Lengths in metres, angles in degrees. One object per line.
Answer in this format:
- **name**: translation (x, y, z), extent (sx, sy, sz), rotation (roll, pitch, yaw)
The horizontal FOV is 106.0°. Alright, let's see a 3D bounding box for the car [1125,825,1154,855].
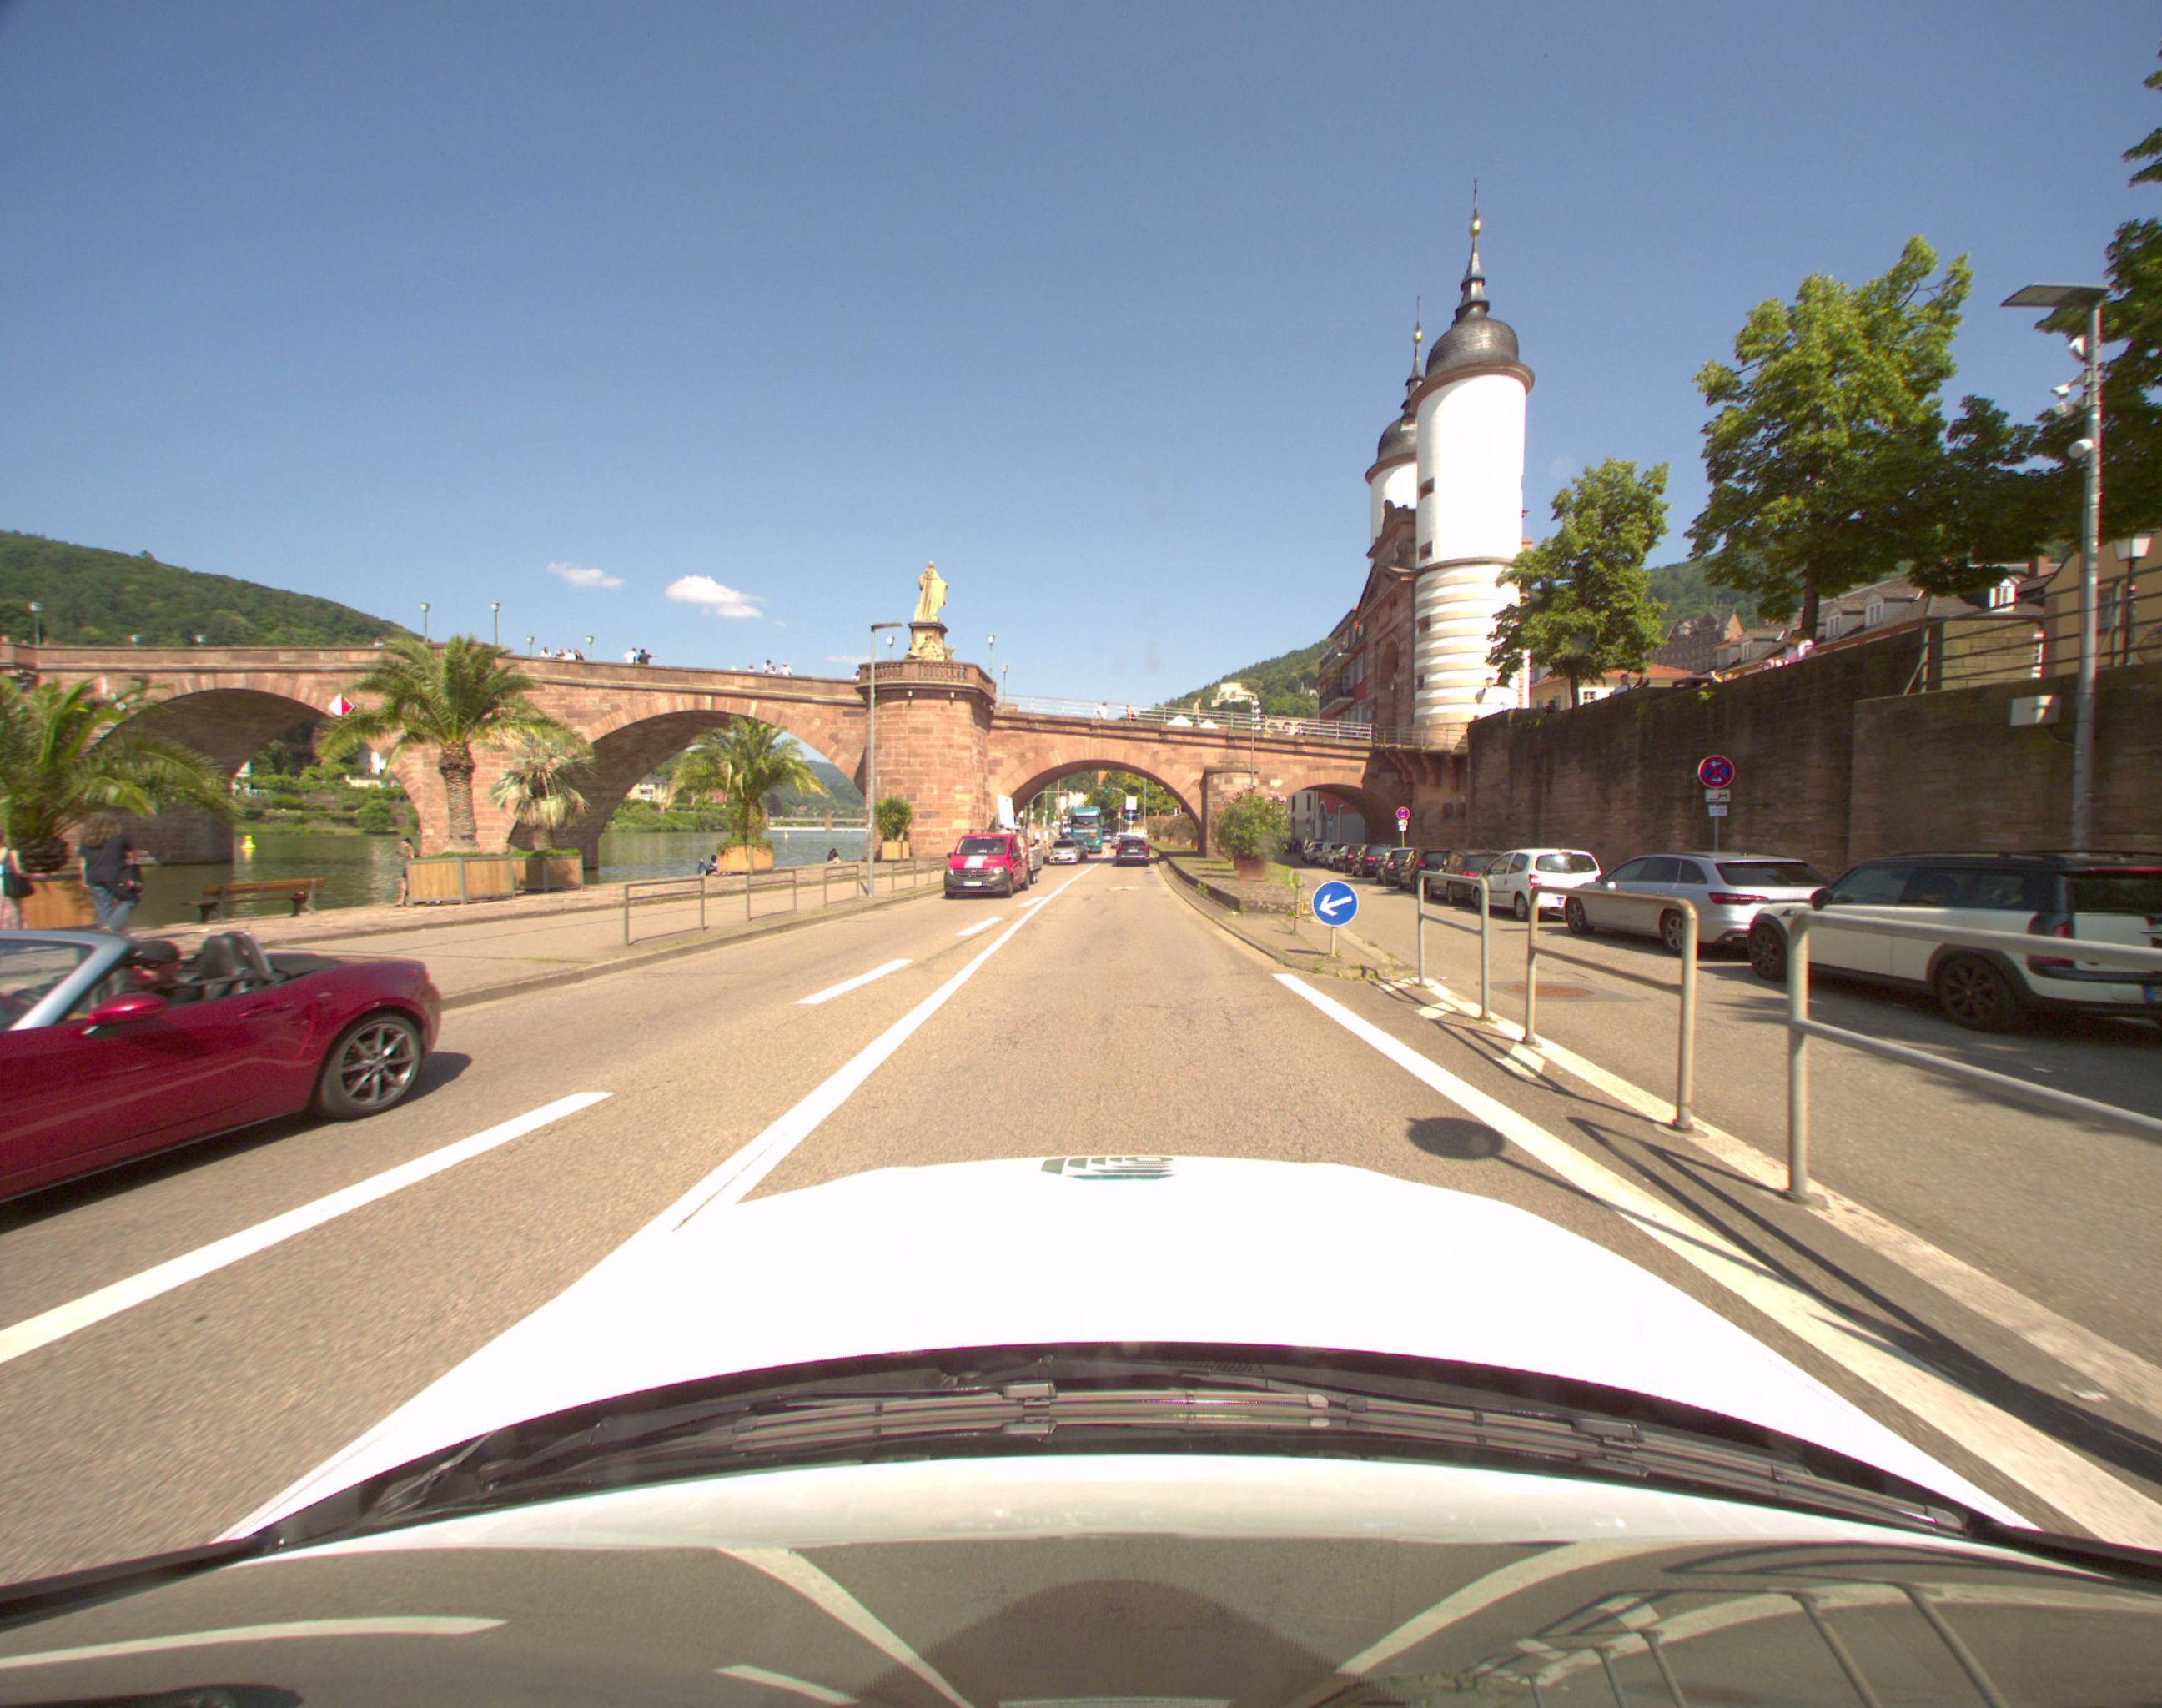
- **car**: translation (4.199, -1.004, 58.179), extent (1.985, 2.013, 4.005), rotation (-1, 1, 4)

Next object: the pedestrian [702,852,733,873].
- **pedestrian**: translation (-13.902, 0.322, 31.170), extent (0.781, 0.742, 0.713), rotation (1, 1, 14)

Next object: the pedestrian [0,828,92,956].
- **pedestrian**: translation (-13.259, 0.474, 9.977), extent (0.790, 1.534, 1.117), rotation (-4, 0, 5)

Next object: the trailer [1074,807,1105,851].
- **trailer**: translation (0.877, -2.282, 72.948), extent (2.514, 3.643, 11.538), rotation (-1, 2, 2)

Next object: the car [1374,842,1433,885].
- **car**: translation (12.243, 0.298, 31.103), extent (1.580, 1.520, 3.918), rotation (0, 1, 14)

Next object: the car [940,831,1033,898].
- **car**: translation (-2.757, 0.233, 24.761), extent (1.865, 1.827, 4.551), rotation (-1, 1, 5)

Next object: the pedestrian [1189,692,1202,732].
- **pedestrian**: translation (6.089, -7.562, 43.408), extent (0.620, 2.013, 0.696), rotation (-1, 1, 5)

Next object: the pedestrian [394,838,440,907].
- **pedestrian**: translation (-15.799, 0.434, 19.396), extent (0.680, 1.601, 0.591), rotation (0, 1, -21)

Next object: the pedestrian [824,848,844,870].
- **pedestrian**: translation (-14.526, 0.294, 47.882), extent (0.722, 1.241, 1.148), rotation (0, 1, 8)

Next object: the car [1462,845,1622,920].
- **car**: translation (9.808, 0.530, 17.639), extent (1.702, 1.457, 3.553), rotation (0, 1, 5)

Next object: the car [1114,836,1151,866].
- **car**: translation (2.862, -0.213, 44.245), extent (1.848, 1.523, 4.007), rotation (-1, 2, 5)

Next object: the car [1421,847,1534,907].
- **car**: translation (10.403, 0.535, 21.705), extent (1.699, 1.388, 4.423), rotation (-1, 0, 12)

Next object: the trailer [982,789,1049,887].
- **trailer**: translation (-2.321, -0.579, 29.728), extent (1.733, 3.320, 3.389), rotation (-2, 1, 6)

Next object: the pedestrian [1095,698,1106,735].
- **pedestrian**: translation (1.103, -7.882, 46.618), extent (0.578, 2.013, 0.587), rotation (-1, 1, 4)

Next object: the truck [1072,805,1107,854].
- **truck**: translation (0.749, -2.051, 66.683), extent (2.513, 3.747, 6.252), rotation (-2, 2, 3)

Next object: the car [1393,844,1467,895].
- **car**: translation (11.235, 0.443, 26.415), extent (1.485, 1.484, 3.728), rotation (0, 1, 11)

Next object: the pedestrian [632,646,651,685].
- **pedestrian**: translation (-24.246, -10.393, 44.965), extent (0.690, 2.013, 0.626), rotation (-1, 1, 0)

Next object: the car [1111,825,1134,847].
- **car**: translation (3.891, -1.704, 77.085), extent (1.987, 2.013, 4.000), rotation (-1, 1, 0)

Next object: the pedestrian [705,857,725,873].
- **pedestrian**: translation (-13.869, 0.397, 30.873), extent (0.460, 0.564, 0.517), rotation (-4, 0, 14)

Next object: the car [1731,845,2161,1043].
- **car**: translation (8.294, 0.627, 7.745), extent (1.602, 1.413, 3.914), rotation (0, 1, 9)

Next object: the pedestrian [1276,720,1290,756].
- **pedestrian**: translation (11.954, -6.873, 48.229), extent (0.681, 2.013, 0.587), rotation (-1, 1, 4)

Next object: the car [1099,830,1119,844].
- **car**: translation (3.267, -1.975, 95.238), extent (1.989, 1.662, 3.997), rotation (0, 1, -3)

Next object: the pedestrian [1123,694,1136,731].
- **pedestrian**: translation (2.789, -8.122, 46.790), extent (0.681, 2.013, 0.587), rotation (-1, 1, 4)

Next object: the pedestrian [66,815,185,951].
- **pedestrian**: translation (-12.472, 0.344, 10.670), extent (0.799, 1.691, 0.837), rotation (-1, 1, -35)

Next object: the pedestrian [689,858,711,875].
- **pedestrian**: translation (-13.848, 0.466, 29.623), extent (0.460, 0.564, 0.517), rotation (-4, 0, 14)

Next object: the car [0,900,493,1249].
- **car**: translation (-5.001, 0.957, 3.781), extent (1.663, 1.194, 3.634), rotation (-2, 1, 5)

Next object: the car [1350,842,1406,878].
- **car**: translation (13.548, 0.223, 37.402), extent (1.764, 1.502, 3.998), rotation (-1, 1, 10)

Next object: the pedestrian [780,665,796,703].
- **pedestrian**: translation (-16.251, -9.417, 45.143), extent (0.622, 2.013, 0.694), rotation (-1, 1, -3)

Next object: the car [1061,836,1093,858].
- **car**: translation (-0.215, -0.482, 56.386), extent (1.714, 1.436, 4.408), rotation (-2, 1, 6)

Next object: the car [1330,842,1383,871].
- **car**: translation (14.335, 0.085, 42.585), extent (1.766, 1.436, 4.501), rotation (0, 1, 7)

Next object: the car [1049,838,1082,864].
- **car**: translation (-0.891, -0.201, 47.995), extent (1.527, 1.436, 3.733), rotation (-2, 1, 4)

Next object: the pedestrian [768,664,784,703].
- **pedestrian**: translation (-16.862, -9.408, 45.011), extent (0.622, 2.013, 0.694), rotation (-1, 1, -3)

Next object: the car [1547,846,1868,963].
- **car**: translation (9.214, 0.608, 12.612), extent (1.744, 1.432, 4.765), rotation (0, 1, 6)

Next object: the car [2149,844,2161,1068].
- **car**: translation (7.629, 0.694, 2.990), extent (1.832, 1.450, 4.544), rotation (0, 1, 8)

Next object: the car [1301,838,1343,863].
- **car**: translation (15.424, -0.277, 52.286), extent (1.883, 1.492, 4.426), rotation (-1, 2, 7)
